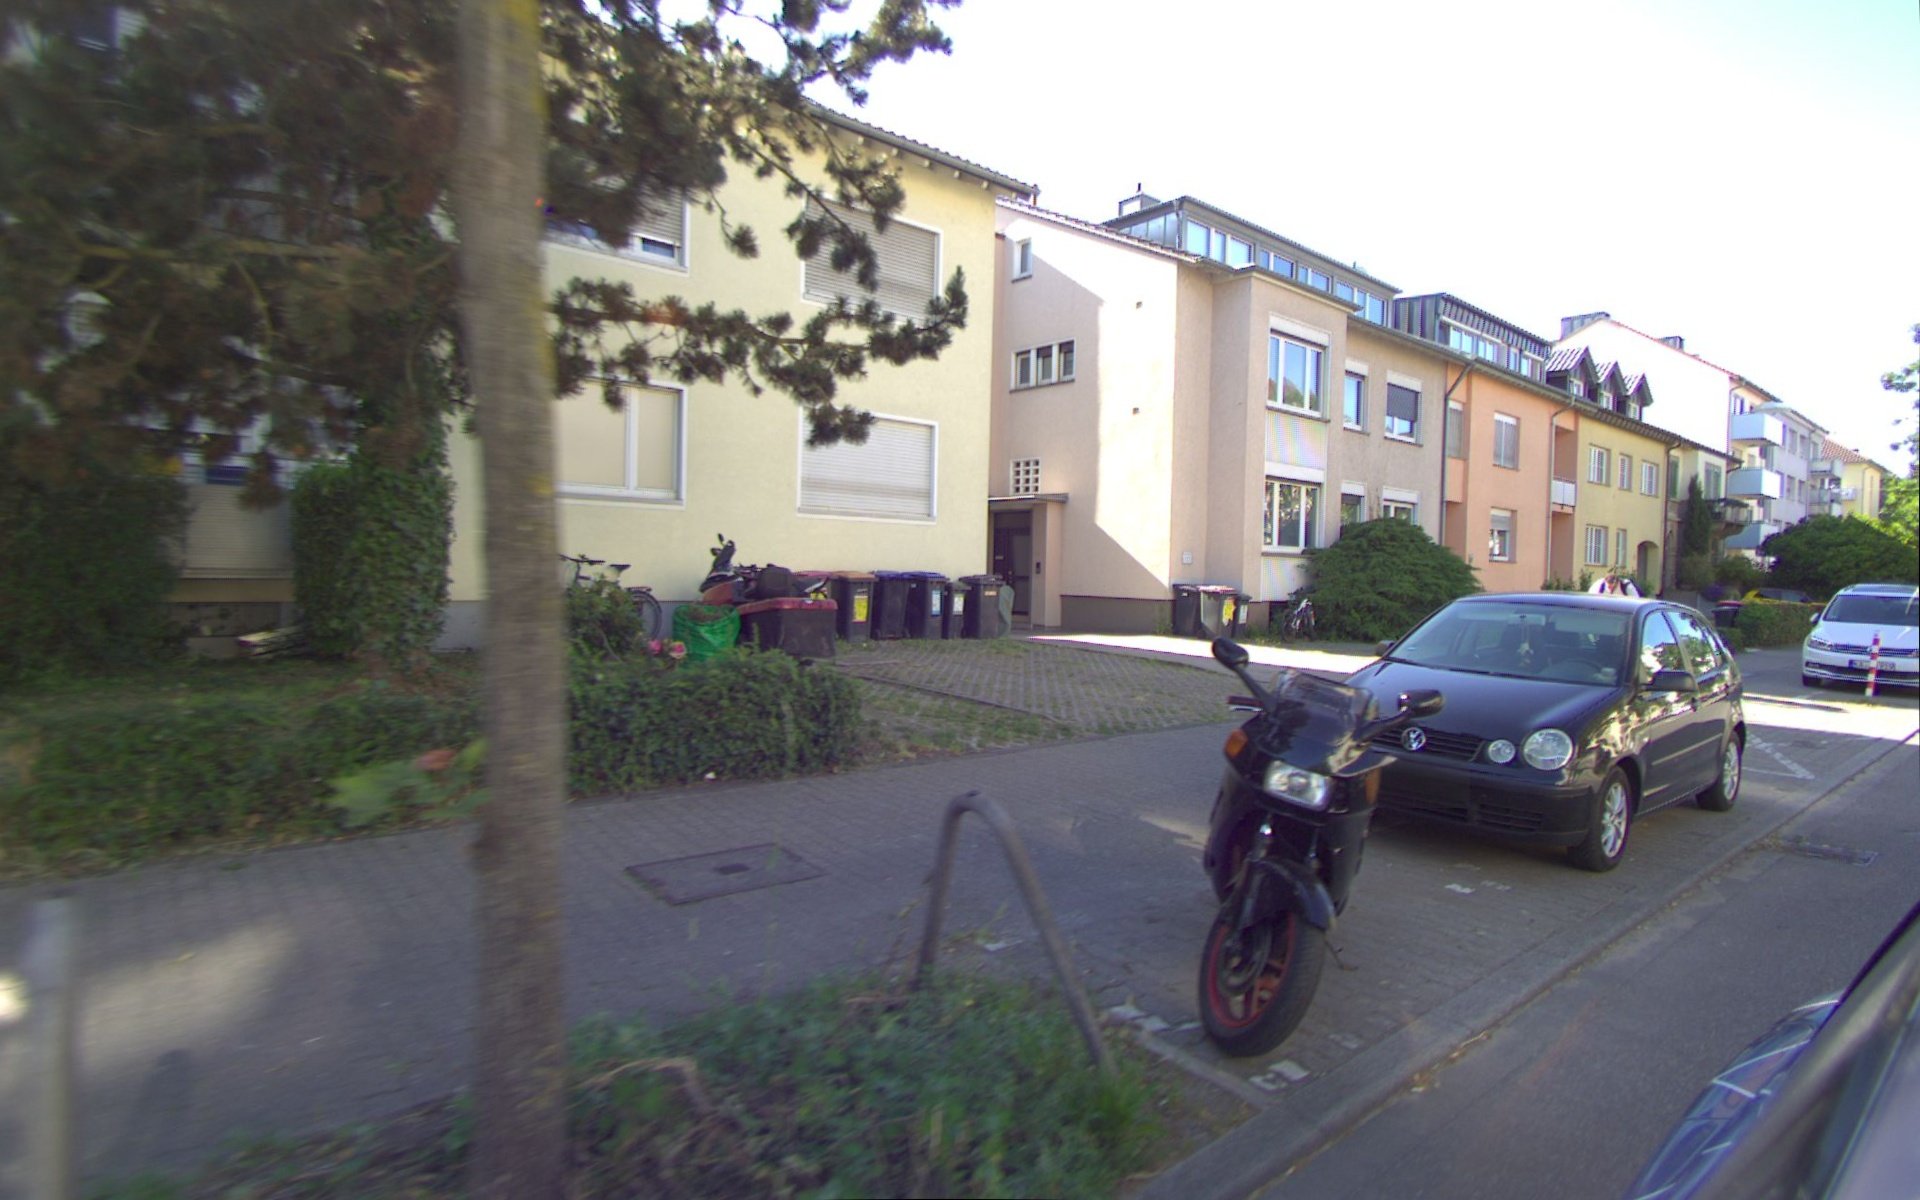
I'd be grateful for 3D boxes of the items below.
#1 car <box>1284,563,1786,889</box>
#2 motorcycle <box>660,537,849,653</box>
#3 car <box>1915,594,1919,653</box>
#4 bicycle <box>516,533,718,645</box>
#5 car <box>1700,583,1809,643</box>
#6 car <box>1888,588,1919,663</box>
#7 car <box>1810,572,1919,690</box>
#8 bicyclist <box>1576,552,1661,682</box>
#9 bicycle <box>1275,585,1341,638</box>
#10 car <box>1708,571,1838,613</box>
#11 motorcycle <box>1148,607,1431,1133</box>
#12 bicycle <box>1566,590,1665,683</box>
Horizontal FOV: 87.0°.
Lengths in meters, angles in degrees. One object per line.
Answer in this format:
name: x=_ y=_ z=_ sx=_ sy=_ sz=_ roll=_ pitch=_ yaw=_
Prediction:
car: x=3.861 y=0.579 z=6.577 sx=3.583 sy=1.517 sz=1.624 roll=0 pitch=3 yaw=-39
motorcycle: x=-2.630 y=-0.074 z=13.176 sx=2.383 sy=1.392 sz=0.637 roll=0 pitch=2 yaw=-41
car: x=24.404 y=0.584 z=24.453 sx=3.653 sy=1.372 sz=1.535 roll=0 pitch=2 yaw=-41
bicycle: x=-4.342 y=-0.141 z=12.967 sx=2.383 sy=1.319 sz=0.599 roll=0 pitch=2 yaw=-41
car: x=21.093 y=0.318 z=26.817 sx=3.653 sy=1.372 sz=1.535 roll=0 pitch=5 yaw=-41
car: x=20.483 y=0.522 z=20.930 sx=3.654 sy=1.467 sz=1.534 roll=0 pitch=2 yaw=-42
car: x=15.425 y=0.451 z=16.522 sx=4.267 sy=1.679 sz=1.772 roll=0 pitch=3 yaw=-43
bicyclist: x=9.659 y=0.228 z=14.837 sx=0.998 sy=1.815 sz=0.725 roll=0 pitch=3 yaw=-41
bicycle: x=7.209 y=0.211 z=20.947 sx=1.713 sy=1.004 sz=0.456 roll=-2 pitch=5 yaw=-41
car: x=34.875 y=-0.368 z=43.480 sx=1.799 sy=1.458 sz=3.998 roll=0 pitch=5 yaw=-40
motorcycle: x=1.344 y=0.738 z=3.960 sx=0.692 sy=1.287 sz=2.415 roll=3 pitch=3 yaw=21
bicycle: x=9.611 y=0.502 z=14.822 sx=1.790 sy=1.262 sz=0.699 roll=0 pitch=3 yaw=-41
